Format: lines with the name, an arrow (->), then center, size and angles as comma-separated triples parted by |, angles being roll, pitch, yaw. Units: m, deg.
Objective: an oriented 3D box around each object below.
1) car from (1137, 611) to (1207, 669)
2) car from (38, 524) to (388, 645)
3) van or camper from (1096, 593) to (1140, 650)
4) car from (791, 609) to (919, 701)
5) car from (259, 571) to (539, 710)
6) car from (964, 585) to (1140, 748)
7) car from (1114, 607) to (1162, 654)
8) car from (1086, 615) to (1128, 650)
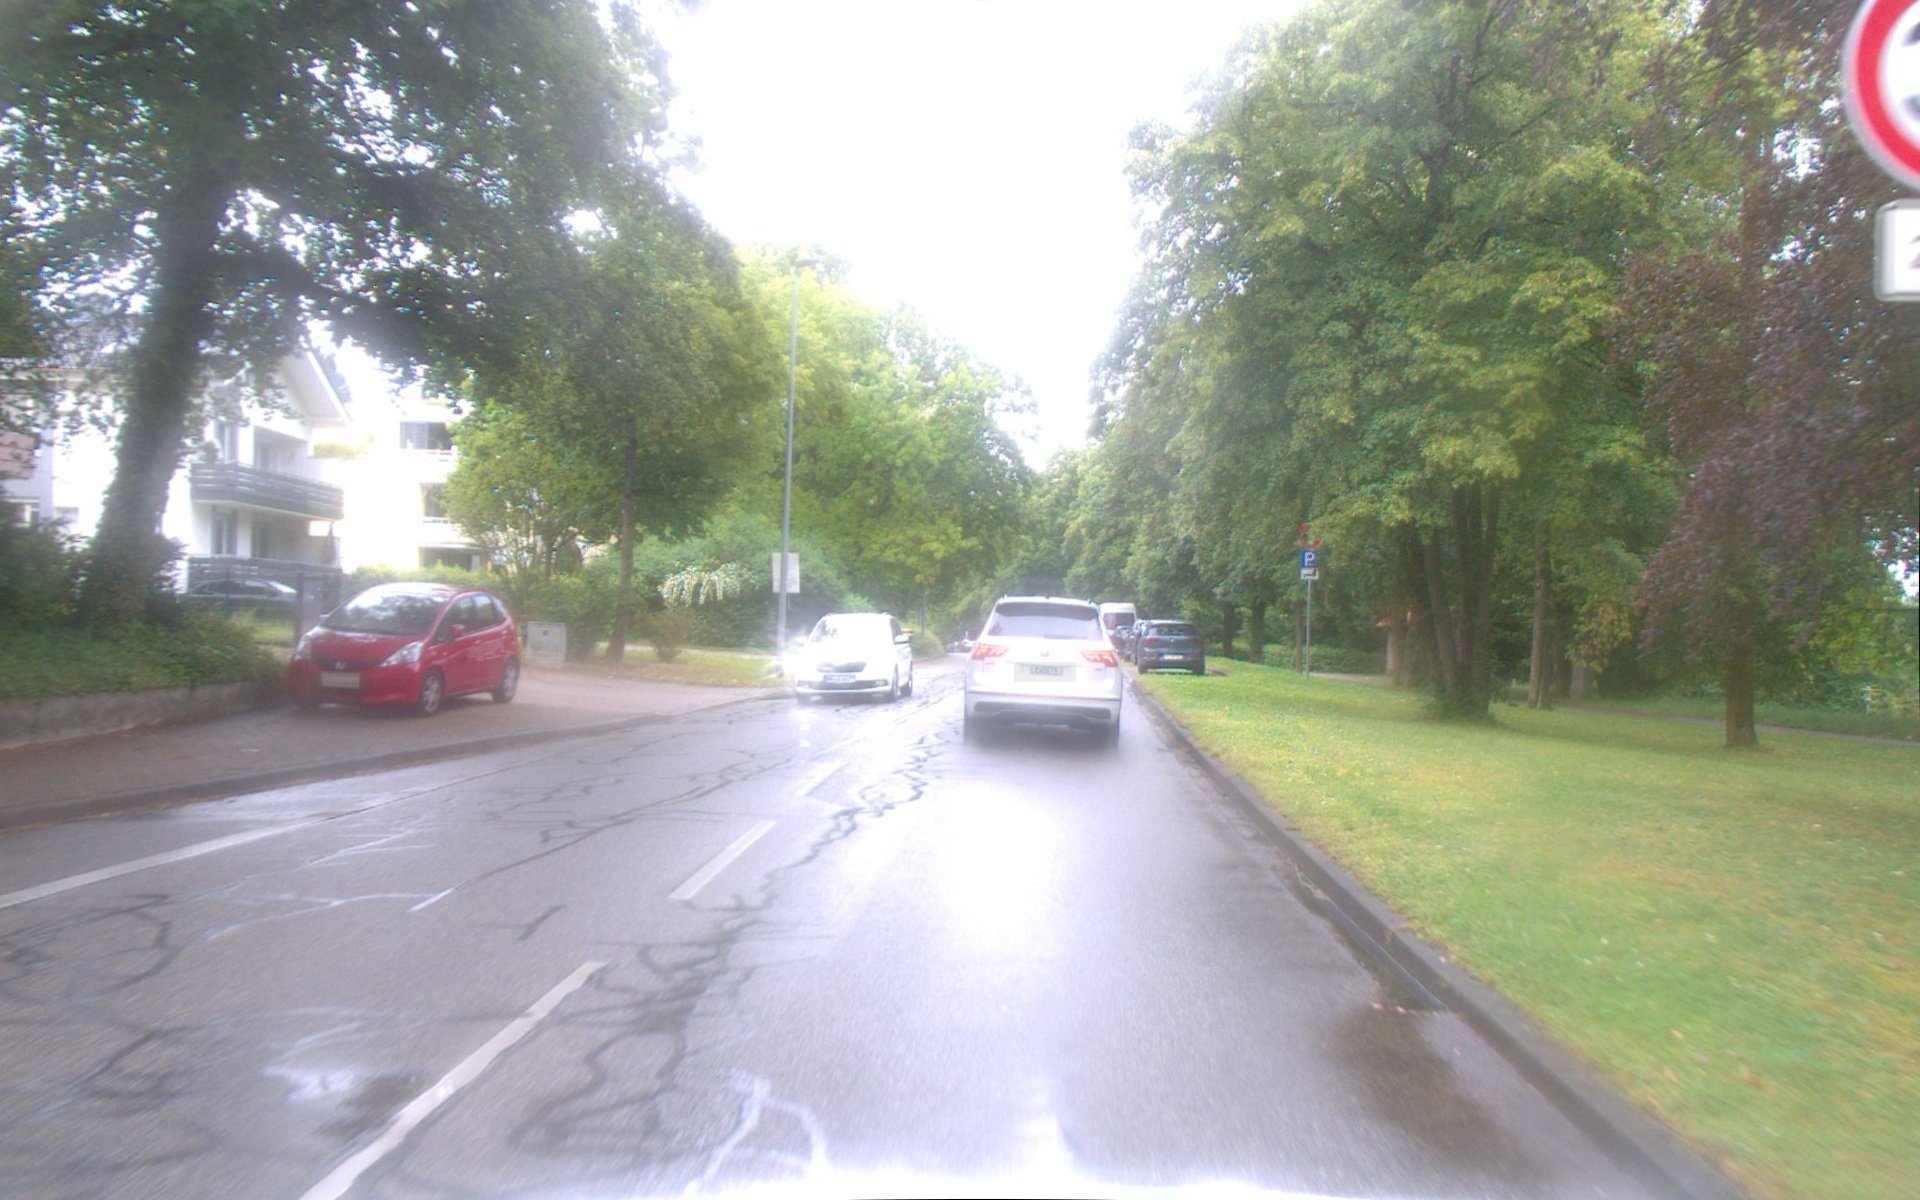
car -> 5.675, 1.053, 44.688 | 1.665, 1.487, 4.219 | 0, -1, 5
car -> -15.337, -0.306, 34.409 | 5.629, 2.073, 3.477 | 3, 0, -3
van or camper -> 7.950, 1.054, 83.478 | 1.973, 2.628, 8.440 | 3, 0, 5
car -> -1.715, 0.883, 28.169 | 1.665, 1.435, 4.010 | -1, 0, 3
car -> -6.989, 0.472, 21.080 | 1.952, 1.542, 4.002 | 2, 0, 4
car -> 1.066, 0.715, 19.961 | 1.866, 1.715, 4.201 | 1, 0, 2
car -> 6.722, 1.141, 62.867 | 1.743, 1.750, 4.264 | 0, -1, 5
car -> 6.674, 1.444, 74.855 | 1.826, 1.538, 3.726 | 1, -1, 5
